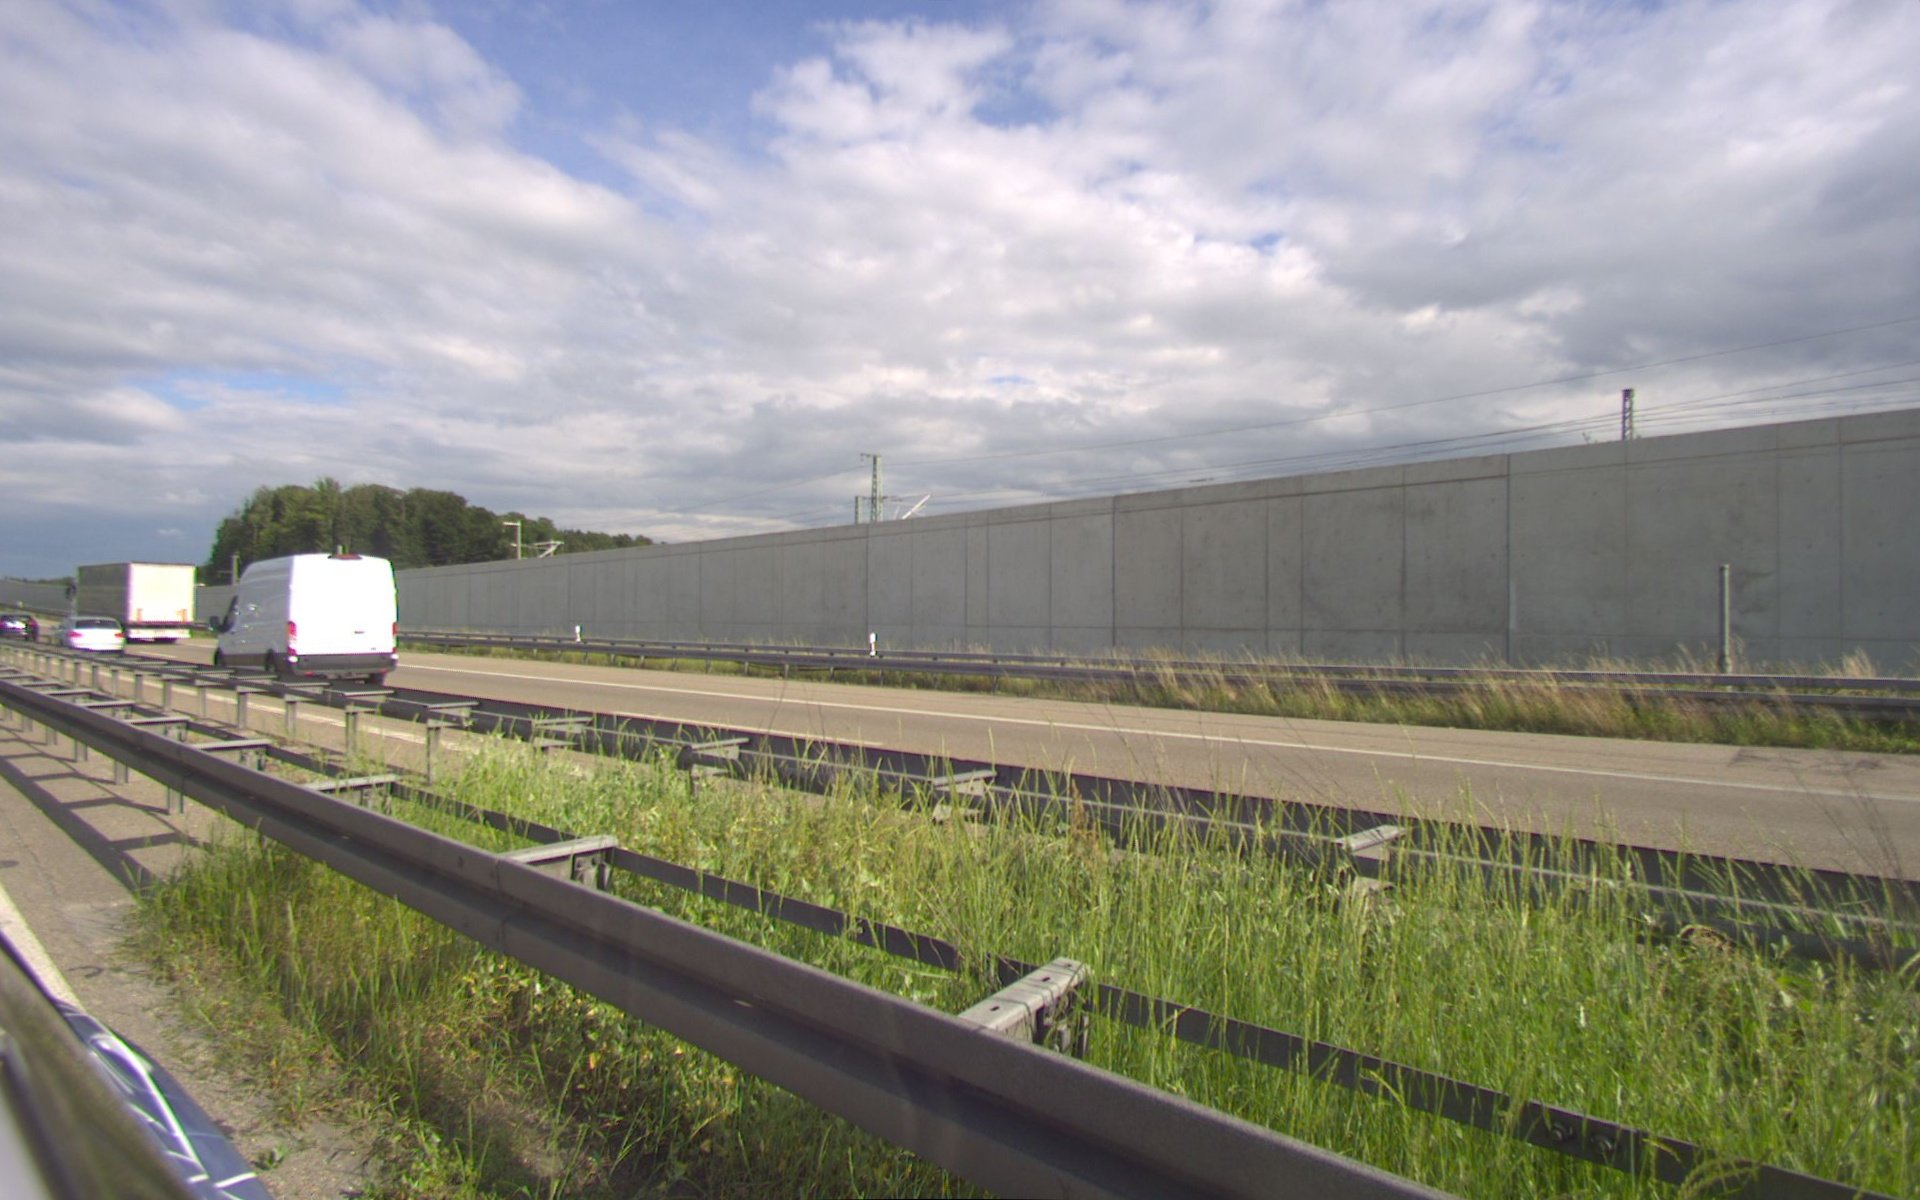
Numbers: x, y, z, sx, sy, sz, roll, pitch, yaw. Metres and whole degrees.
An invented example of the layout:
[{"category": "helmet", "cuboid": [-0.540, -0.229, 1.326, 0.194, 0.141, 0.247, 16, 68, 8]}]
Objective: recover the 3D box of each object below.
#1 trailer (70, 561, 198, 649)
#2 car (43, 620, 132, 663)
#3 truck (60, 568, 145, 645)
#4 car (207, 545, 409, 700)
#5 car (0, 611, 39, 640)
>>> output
[{"category": "trailer", "cuboid": [-43.322, 0.358, 52.840, 13.511, 4.108, 2.761, -1, -3, 41]}, {"category": "car", "cuboid": [-31.257, 1.440, 36.231, 4.230, 1.462, 1.854, -1, -1, 41]}, {"category": "truck", "cuboid": [-48.830, 0.433, 57.586, 5.528, 4.119, 2.747, -1, -3, 41]}, {"category": "car", "cuboid": [-13.907, 0.468, 21.430, 5.633, 2.892, 2.082, -1, -1, 41]}, {"category": "car", "cuboid": [-48.465, 1.282, 51.793, 3.956, 1.462, 1.634, -1, -1, 43]}]
